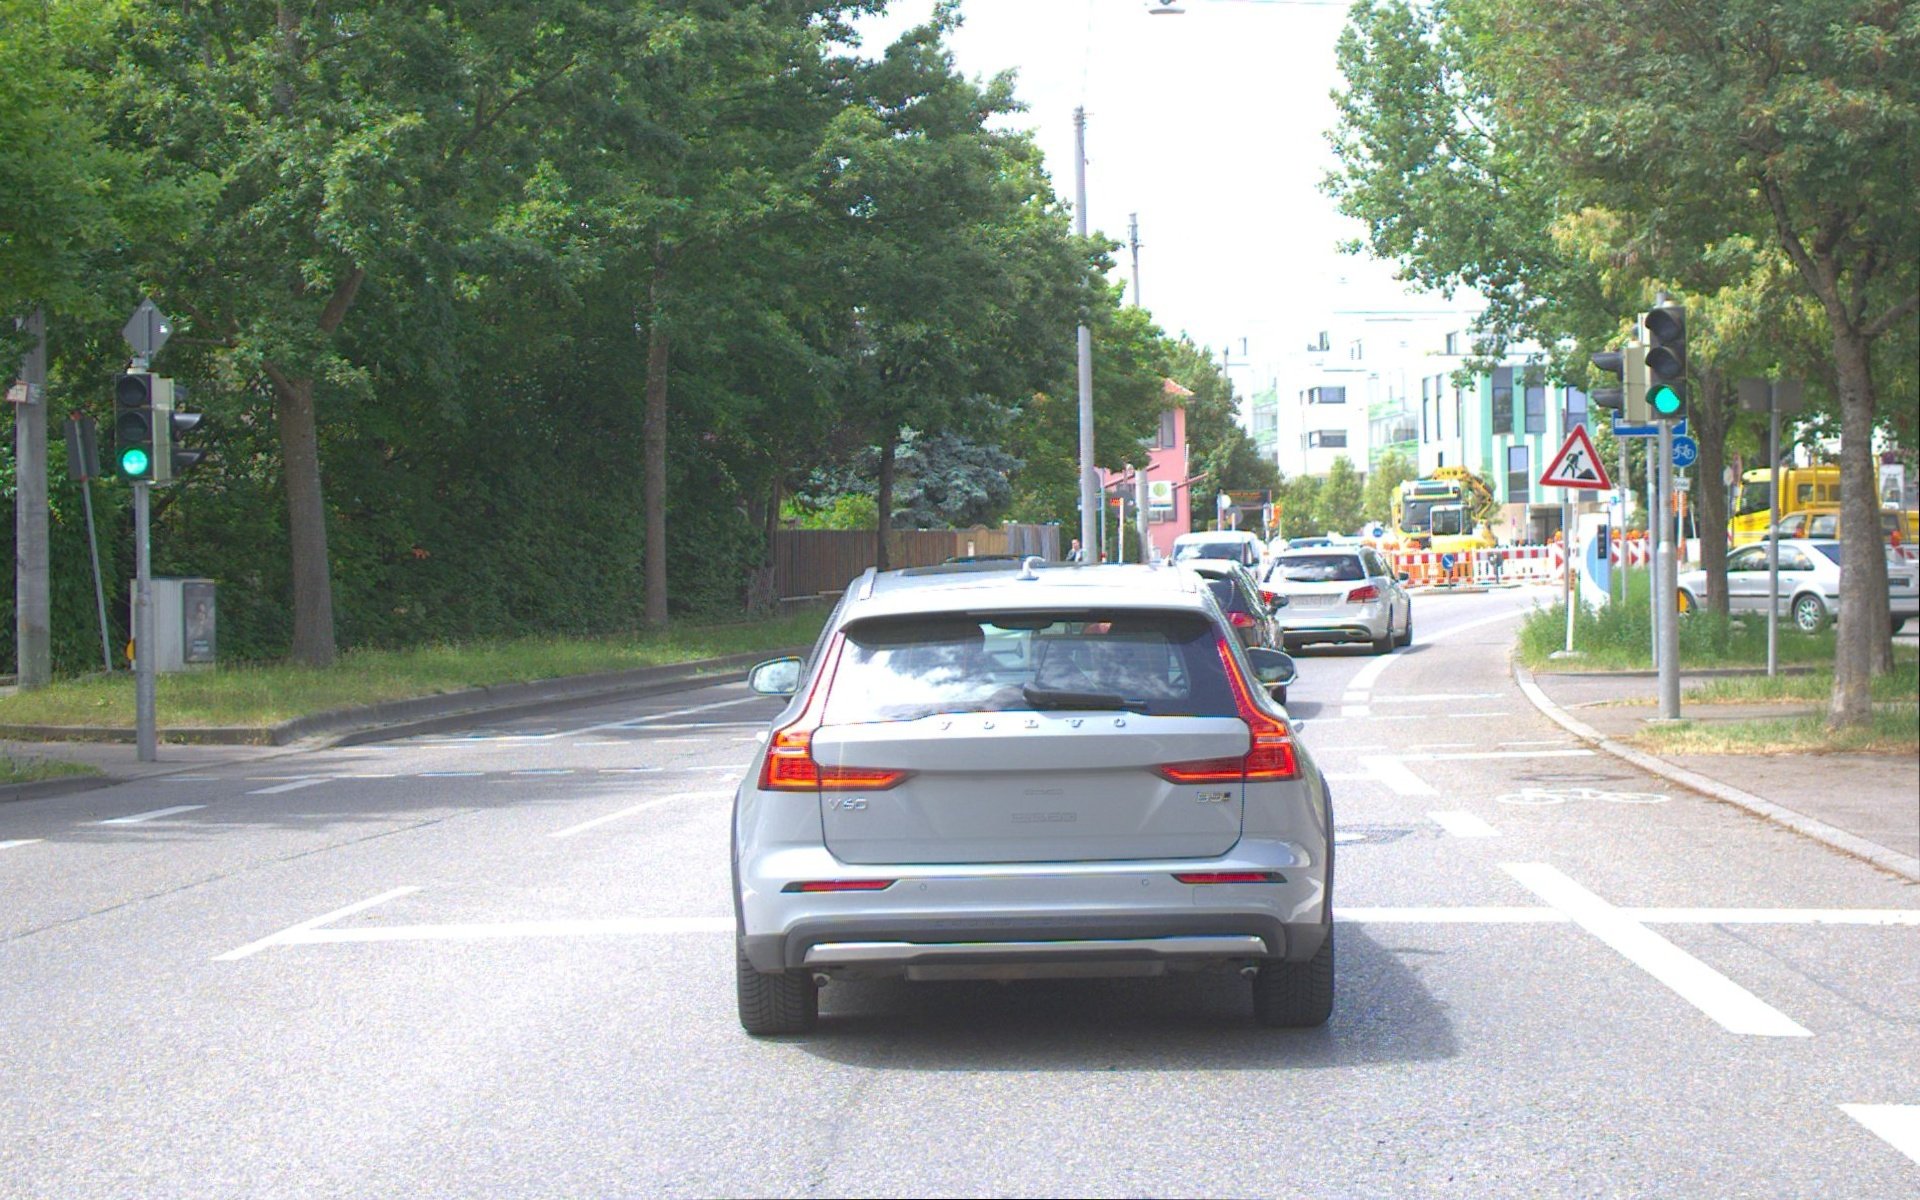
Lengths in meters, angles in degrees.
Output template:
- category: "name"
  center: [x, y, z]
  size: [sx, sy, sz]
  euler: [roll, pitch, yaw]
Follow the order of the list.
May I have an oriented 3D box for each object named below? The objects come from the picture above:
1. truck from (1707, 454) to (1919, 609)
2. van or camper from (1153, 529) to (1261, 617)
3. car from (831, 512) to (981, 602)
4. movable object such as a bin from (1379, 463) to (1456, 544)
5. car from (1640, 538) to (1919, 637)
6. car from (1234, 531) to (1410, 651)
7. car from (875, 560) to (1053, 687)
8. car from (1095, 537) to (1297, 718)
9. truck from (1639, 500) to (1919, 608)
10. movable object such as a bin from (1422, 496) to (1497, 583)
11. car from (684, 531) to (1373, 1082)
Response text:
- category: "truck"
  center: [18.588, -1.343, 69.423]
  size: [2.761, 2.998, 6.706]
  euler: [1, 0, -35]
- category: "van or camper"
  center: [5.224, -0.593, 72.338]
  size: [1.861, 1.770, 4.379]
  euler: [-1, 1, 9]
- category: "car"
  center: [-0.857, -0.695, 57.456]
  size: [1.829, 1.325, 3.998]
  euler: [1, -1, 9]
- category: "movable object such as a bin"
  center: [17.442, -3.661, 131.333]
  size: [2.310, 2.980, 6.426]
  euler: [-1, 1, 3]
- category: "car"
  center: [12.772, -0.224, 52.970]
  size: [1.762, 1.447, 4.689]
  euler: [-1, 1, -32]
- category: "car"
  center: [5.050, -0.121, 47.529]
  size: [2.103, 1.505, 3.998]
  euler: [2, 0, 10]
- category: "car"
  center: [0.101, 0.301, 46.091]
  size: [1.899, 1.574, 3.999]
  euler: [-2, 0, 6]
- category: "car"
  center: [2.098, 0.232, 31.404]
  size: [1.661, 1.503, 3.702]
  euler: [2, 0, 2]
- category: "truck"
  center: [16.201, -0.915, 67.740]
  size: [1.994, 2.007, 5.677]
  euler: [1, 0, -36]
- category: "movable object such as a bin"
  center: [15.725, -1.913, 108.087]
  size: [2.035, 2.634, 5.937]
  euler: [-1, 1, 11]
- category: "car"
  center: [0.294, 0.579, 11.753]
  size: [1.928, 1.535, 4.000]
  euler: [-1, 0, 3]
